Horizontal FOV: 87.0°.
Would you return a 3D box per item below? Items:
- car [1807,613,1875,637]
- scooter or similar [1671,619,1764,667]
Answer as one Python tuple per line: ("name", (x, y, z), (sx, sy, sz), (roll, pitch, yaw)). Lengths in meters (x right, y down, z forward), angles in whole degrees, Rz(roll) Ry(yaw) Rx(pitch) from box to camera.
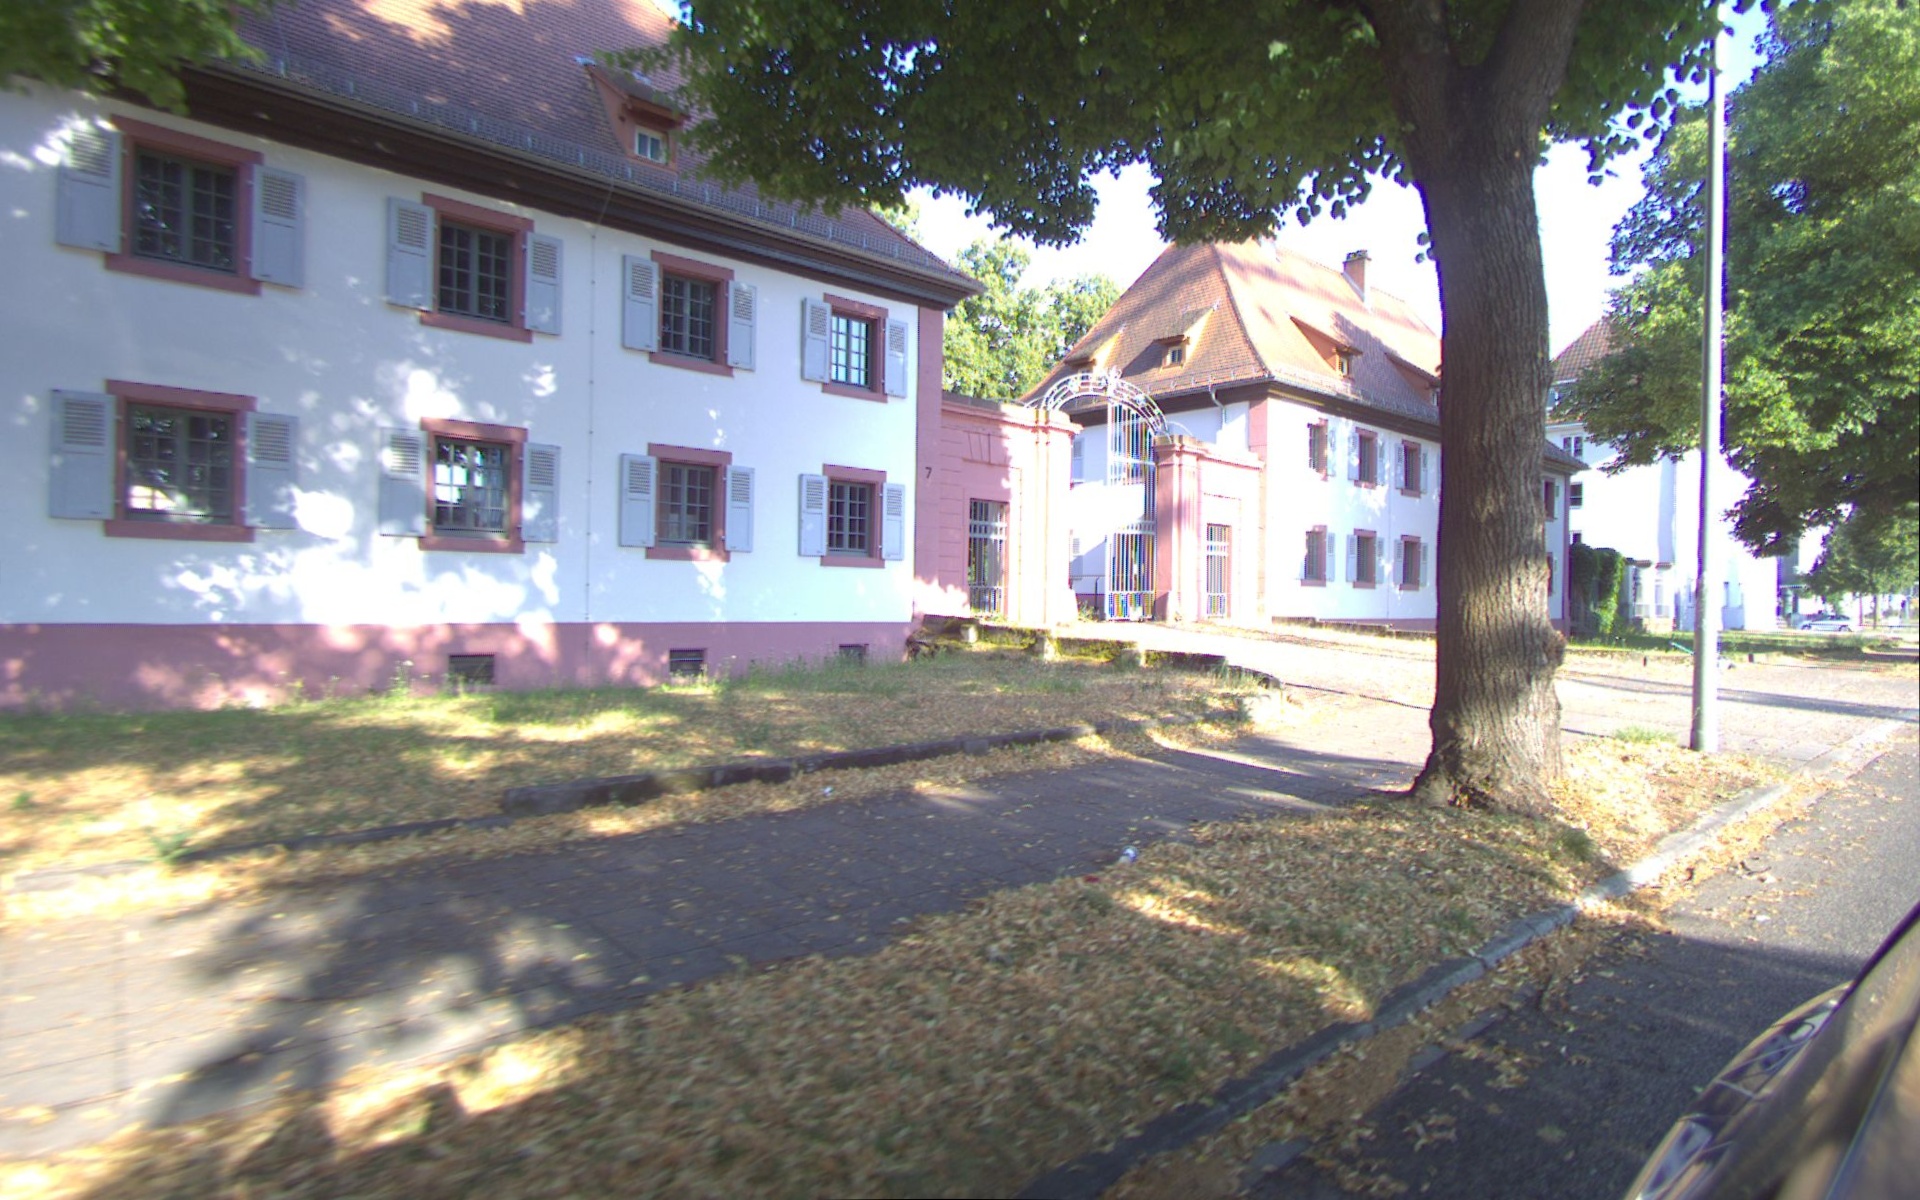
("car", (68.883, 1.962, 79.143), (1.731, 1.441, 3.620), (7, -10, -36))
("scooter or similar", (16.307, 0.909, 21.814), (1.043, 0.552, 1.236), (-1, 22, -34))
